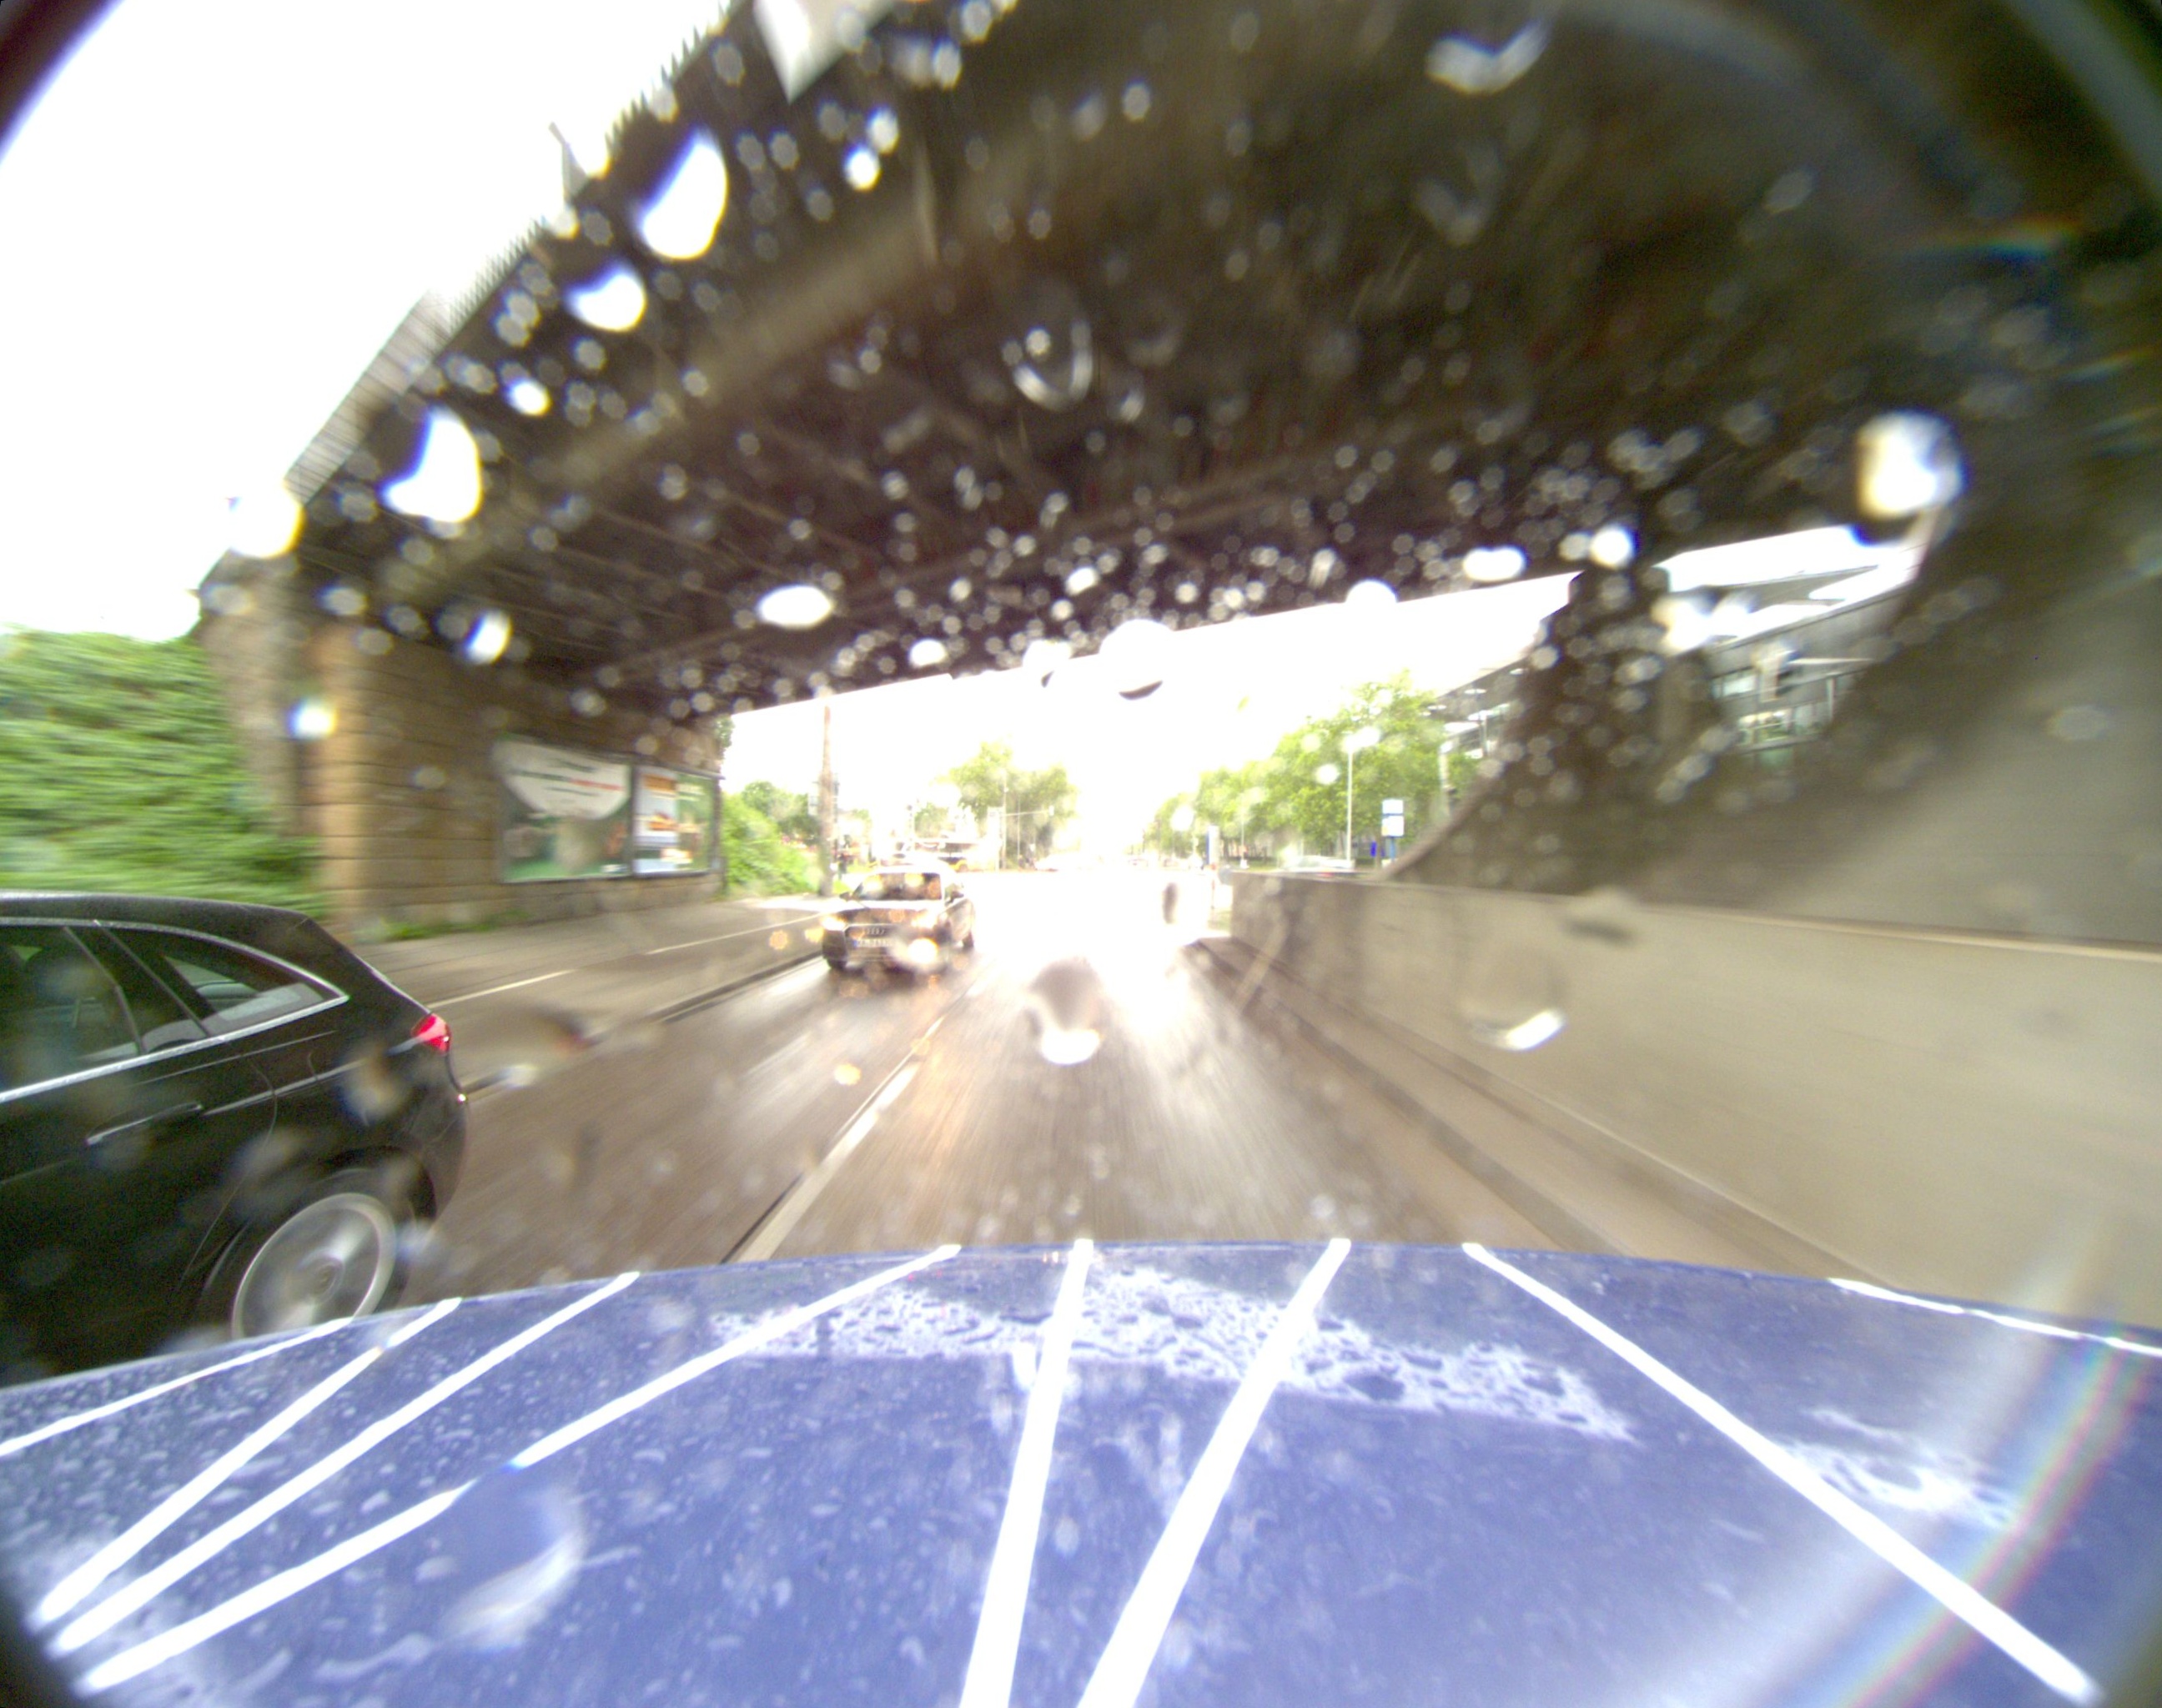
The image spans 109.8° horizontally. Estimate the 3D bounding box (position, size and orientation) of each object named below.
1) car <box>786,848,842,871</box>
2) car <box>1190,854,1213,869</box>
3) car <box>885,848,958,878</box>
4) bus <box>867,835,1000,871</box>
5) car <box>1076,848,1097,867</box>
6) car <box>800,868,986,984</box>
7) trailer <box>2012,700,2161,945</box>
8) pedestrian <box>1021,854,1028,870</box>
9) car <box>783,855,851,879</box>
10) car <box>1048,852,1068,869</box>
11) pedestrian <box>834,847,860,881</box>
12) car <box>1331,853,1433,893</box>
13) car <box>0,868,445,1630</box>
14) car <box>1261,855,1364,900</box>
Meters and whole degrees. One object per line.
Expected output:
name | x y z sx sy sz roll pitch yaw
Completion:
car | -21.241 0.445 60.458 4.289 1.710 2.181 1 1 37
car | 13.919 0.818 87.946 1.905 1.622 4.169 1 0 -1
car | -9.510 0.503 45.180 4.049 1.647 2.033 1 1 35
bus | -14.154 -0.101 73.601 12.311 3.249 3.266 0 1 -32
car | 0.524 0.311 77.932 2.076 1.838 4.745 1 1 -1
car | -2.681 0.976 11.756 1.840 1.390 3.753 -1 1 2
trailer | 18.796 -0.492 9.954 2.687 3.963 8.520 1 0 0
pedestrian | -5.817 0.798 78.047 0.644 1.641 0.626 1 0 6
car | -16.194 0.749 46.531 3.988 1.341 1.902 2 1 33
car | -2.230 0.631 76.168 1.932 1.641 4.341 1 1 -1
pedestrian | -12.085 0.511 39.269 0.817 1.709 1.007 1 1 28
car | 12.451 0.738 31.846 1.746 1.477 4.680 1 1 -10
car | -3.126 0.823 0.579 1.875 1.515 4.086 1 0 -1
car | 8.718 0.829 28.989 1.662 1.537 3.992 0 1 -21
